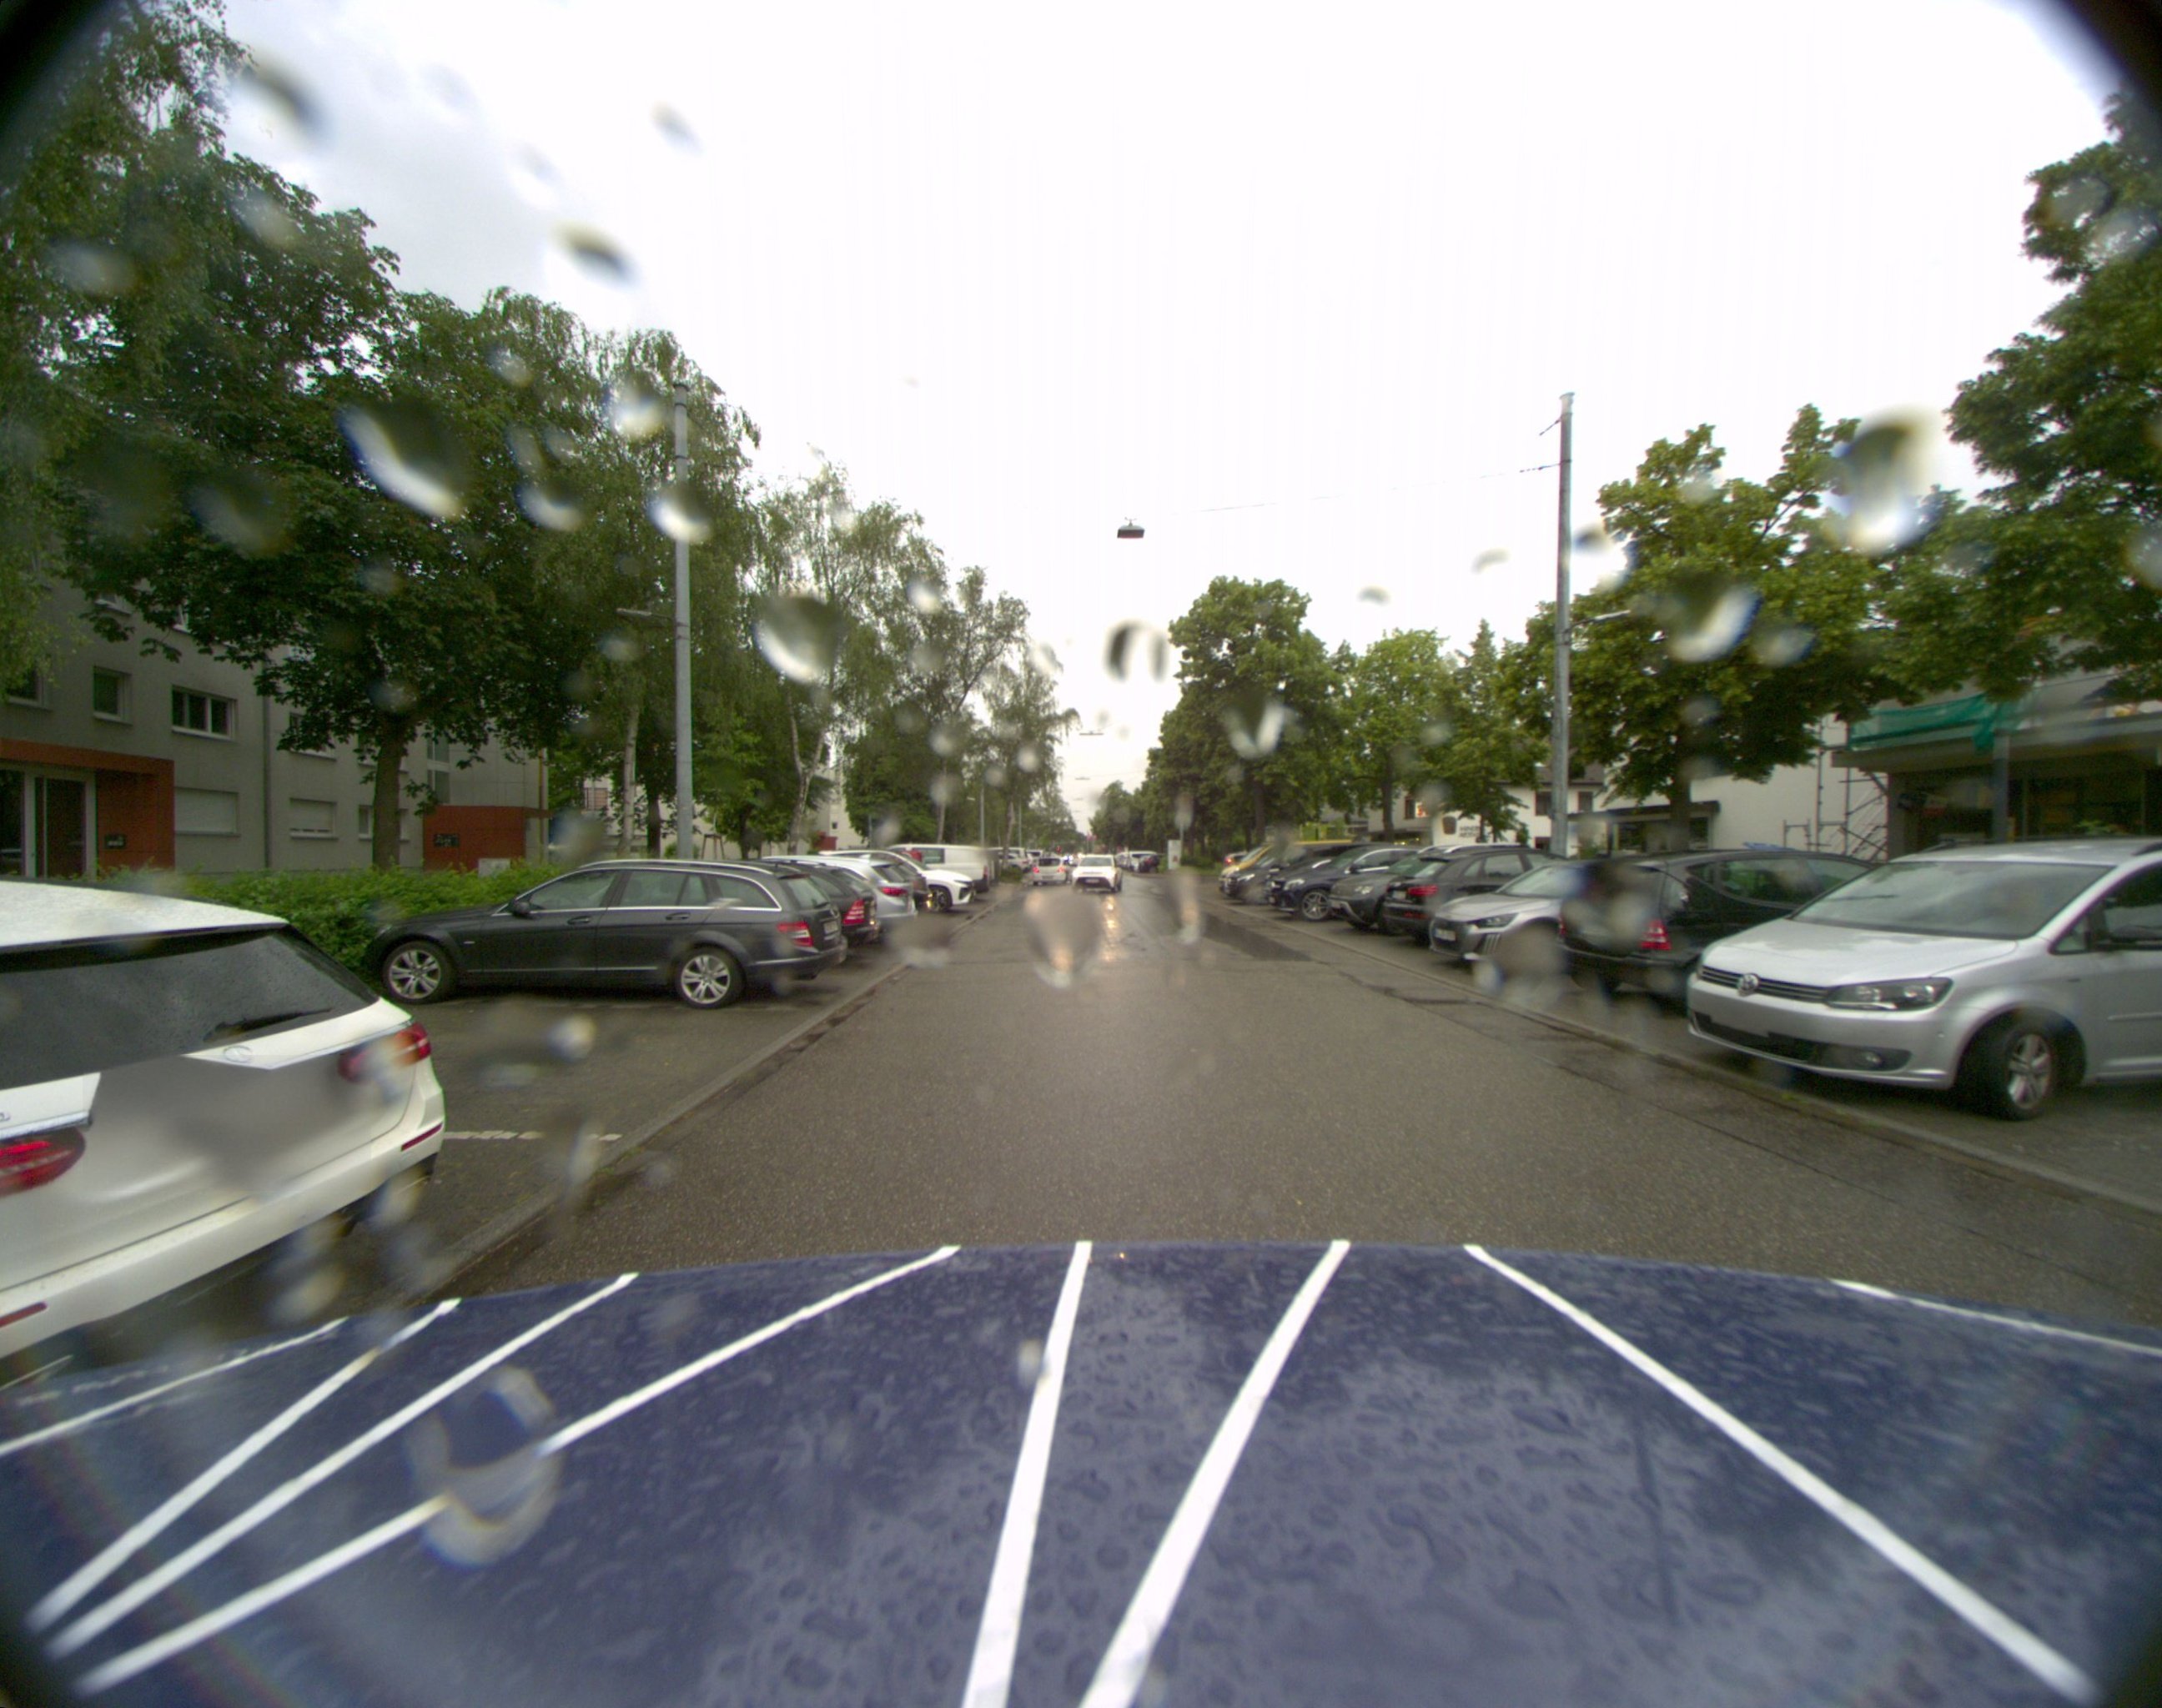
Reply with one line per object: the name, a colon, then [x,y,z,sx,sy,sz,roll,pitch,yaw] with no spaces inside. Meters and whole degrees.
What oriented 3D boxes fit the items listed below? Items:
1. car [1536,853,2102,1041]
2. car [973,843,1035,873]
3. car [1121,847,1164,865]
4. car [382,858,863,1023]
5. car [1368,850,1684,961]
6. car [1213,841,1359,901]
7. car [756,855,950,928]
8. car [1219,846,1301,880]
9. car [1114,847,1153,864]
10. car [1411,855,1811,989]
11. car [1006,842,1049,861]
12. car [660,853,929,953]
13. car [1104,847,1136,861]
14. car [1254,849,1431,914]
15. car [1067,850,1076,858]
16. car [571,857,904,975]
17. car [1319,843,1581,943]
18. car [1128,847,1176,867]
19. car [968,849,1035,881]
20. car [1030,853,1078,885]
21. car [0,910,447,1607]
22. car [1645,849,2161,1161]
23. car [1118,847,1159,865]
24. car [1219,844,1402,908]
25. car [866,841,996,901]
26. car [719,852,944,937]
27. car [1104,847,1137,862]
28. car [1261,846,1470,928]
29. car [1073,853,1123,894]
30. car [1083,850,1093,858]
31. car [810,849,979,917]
car: [7.261,0.839,7.754,4.283,1.556,1.635,-2,1,-2]
car: [-5.449,0.266,54.098,3.995,1.902,1.902,-2,1,4]
car: [6.135,0.193,75.878,3.998,1.675,1.999,-2,1,-3]
car: [-4.601,0.851,8.114,4.049,1.431,1.680,2,1,-3]
car: [7.267,0.790,12.671,4.283,1.586,1.715,-2,1,-2]
car: [7.184,0.571,26.932,4.657,1.947,1.715,-2,1,-2]
car: [-5.246,0.845,17.885,4.049,1.488,1.680,2,1,-3]
car: [9.743,0.463,41.601,3.996,1.677,1.840,-2,1,2]
car: [5.793,0.169,83.750,3.998,1.675,1.999,-2,1,-3]
car: [6.997,0.841,10.313,4.283,1.523,1.715,-2,1,-2]
car: [-5.272,-0.225,75.025,3.995,1.670,1.902,-2,1,4]
car: [-4.851,0.817,13.304,4.049,1.488,1.680,2,1,-3]
car: [5.212,-0.055,101.609,3.998,1.675,1.999,-2,1,-3]
car: [7.173,0.721,21.070,4.283,1.617,1.715,-2,1,-2]
car: [-2.130,0.010,174.107,1.998,1.804,3.999,-2,1,1]
car: [-4.800,0.853,11.059,4.049,1.431,1.680,2,1,-3]
car: [7.091,0.705,14.862,4.283,1.717,1.715,-2,1,-2]
car: [6.405,0.275,68.856,3.998,1.675,1.999,-2,1,-3]
car: [-5.107,0.687,49.263,3.995,1.902,1.902,-2,1,4]
car: [-1.355,0.753,39.572,1.998,1.446,4.258,-2,1,4]
car: [-4.752,0.917,2.062,4.623,1.431,1.680,2,1,0]
car: [6.619,0.845,5.207,4.283,1.625,1.715,-2,1,-2]
car: [5.900,0.241,78.337,3.998,1.675,1.999,-2,1,-3]
car: [7.117,0.645,23.855,5.177,1.789,1.715,-2,1,-2]
car: [-5.078,0.573,26.185,4.182,1.856,1.679,2,1,-6]
car: [-4.994,0.793,15.630,4.049,1.488,1.680,2,1,-3]
car: [5.036,0.026,96.935,3.998,1.675,1.999,-2,1,-3]
car: [6.615,0.719,17.942,4.283,1.717,1.715,-2,1,-2]
car: [0.770,0.736,30.848,1.732,1.519,4.140,0,1,5]
car: [1.551,-0.033,168.637,1.999,1.617,3.999,-2,1,-1]
car: [-5.045,0.757,20.901,4.179,1.609,1.680,2,1,1]
